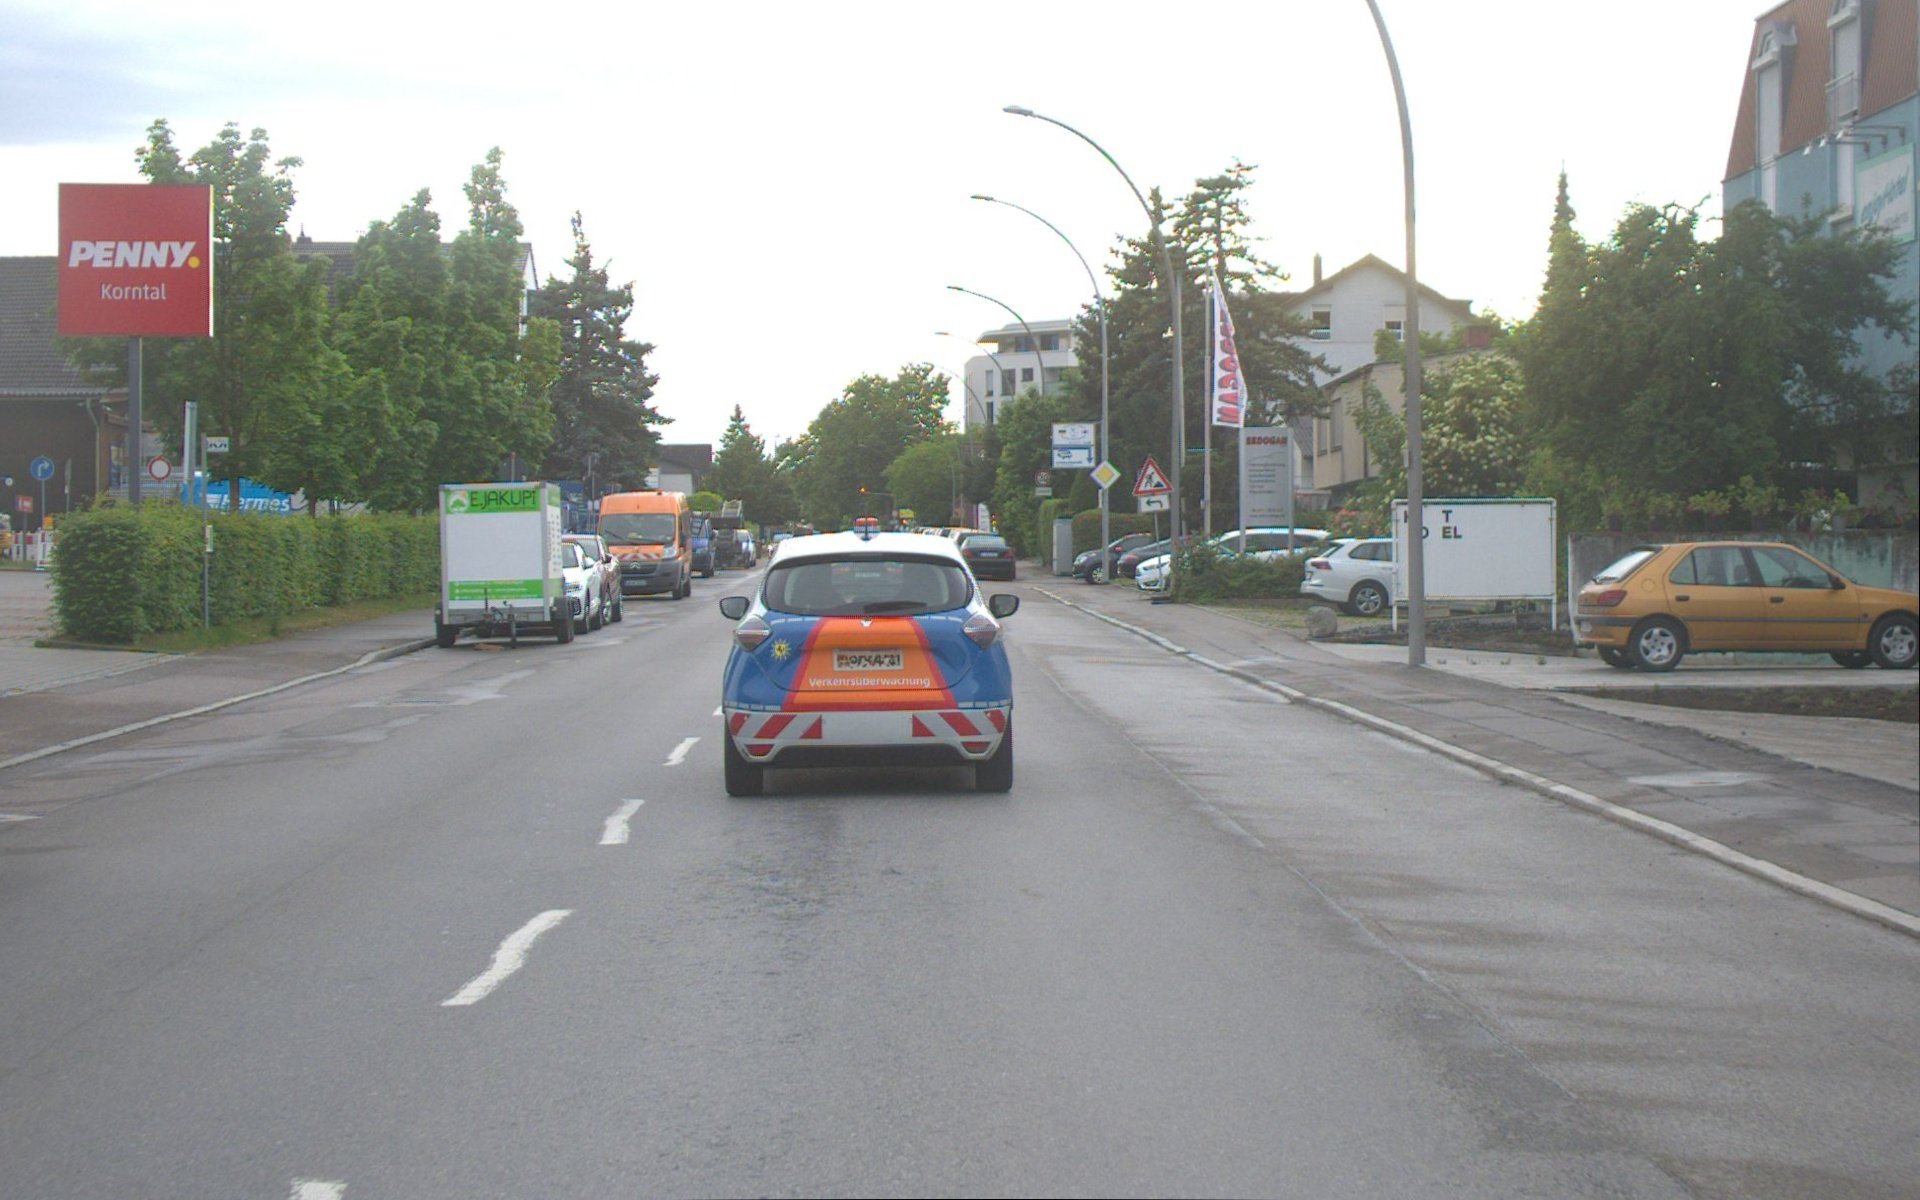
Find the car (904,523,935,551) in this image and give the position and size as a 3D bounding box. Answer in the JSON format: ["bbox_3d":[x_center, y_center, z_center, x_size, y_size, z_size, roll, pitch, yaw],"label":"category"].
[{"bbox_3d":[-2.426,-3.761,205.736,1.650,1.666,4.001,1,1,-3],"label":"car"}]

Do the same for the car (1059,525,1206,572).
[{"bbox_3d":[4.903,-1.469,98.189,3.986,1.262,1.951,1,1,-3],"label":"car"}]

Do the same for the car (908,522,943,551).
[{"bbox_3d":[-1.854,-3.379,183.970,1.650,1.516,4.001,1,1,-3],"label":"car"}]

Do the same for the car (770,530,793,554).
[{"bbox_3d":[-11.238,-3.654,216.309,1.386,1.478,3.784,0,1,-3],"label":"car"}]

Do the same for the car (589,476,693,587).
[{"bbox_3d":[-7.474,-1.631,80.999,2.124,2.529,6.023,0,1,-2],"label":"car"}]

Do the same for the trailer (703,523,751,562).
[{"bbox_3d":[-8.812,-2.184,130.307,1.717,1.256,5.246,1,3,-3],"label":"trailer"}]

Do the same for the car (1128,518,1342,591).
[{"bbox_3d":[5.847,-0.967,73.323,4.337,1.470,1.903,1,1,-2],"label":"car"}]

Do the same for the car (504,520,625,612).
[{"bbox_3d":[-7.048,-0.637,61.549,1.805,1.568,4.343,-1,2,-2],"label":"car"}]

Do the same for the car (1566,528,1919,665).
[{"bbox_3d":[8.684,-0.052,37.003,3.986,1.425,1.631,0,1,-3],"label":"car"}]

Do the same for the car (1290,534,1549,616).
[{"bbox_3d":[8.368,-0.462,62.851,4.415,1.388,1.880,1,1,-2],"label":"car"}]

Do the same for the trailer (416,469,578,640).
[{"bbox_3d":[-6.721,-0.691,50.304,1.812,2.306,4.731,-2,1,-2],"label":"trailer"}]

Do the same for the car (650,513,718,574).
[{"bbox_3d":[-9.052,-1.869,113.065,1.993,1.940,5.366,1,1,-2],"label":"car"}]

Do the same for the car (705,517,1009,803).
[{"bbox_3d":[-0.654,0.316,21.357,1.731,1.625,3.495,0,1,-2],"label":"car"}]

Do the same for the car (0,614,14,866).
[{"bbox_3d":[-5.767,0.209,13.842,2.158,2.418,6.460,-3,1,-1],"label":"car"}]

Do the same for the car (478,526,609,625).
[{"bbox_3d":[-6.744,-0.425,55.946,1.772,1.493,4.137,0,2,-2],"label":"car"}]

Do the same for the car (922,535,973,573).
[{"bbox_3d":[-0.514,-1.825,135.413,1.711,1.433,4.527,1,1,-4],"label":"car"}]

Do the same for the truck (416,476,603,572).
[{"bbox_3d":[-15.080,-2.539,115.374,5.911,3.063,2.450,1,1,-1],"label":"truck"}]

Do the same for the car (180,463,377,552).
[{"bbox_3d":[-16.242,-2.194,82.083,4.306,2.007,2.063,1,1,-1],"label":"car"}]

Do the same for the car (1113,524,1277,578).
[{"bbox_3d":[5.887,-1.223,86.530,3.987,1.262,1.951,1,1,1],"label":"car"}]

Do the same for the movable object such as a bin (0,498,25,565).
[{"bbox_3d":[-26.664,-1.847,91.031,3.421,1.753,2.001,1,1,-8],"label":"movable object such as a bin"}]

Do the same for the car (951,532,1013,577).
[{"bbox_3d":[0.644,-1.385,103.470,1.589,1.336,4.093,1,1,-3],"label":"car"}]
